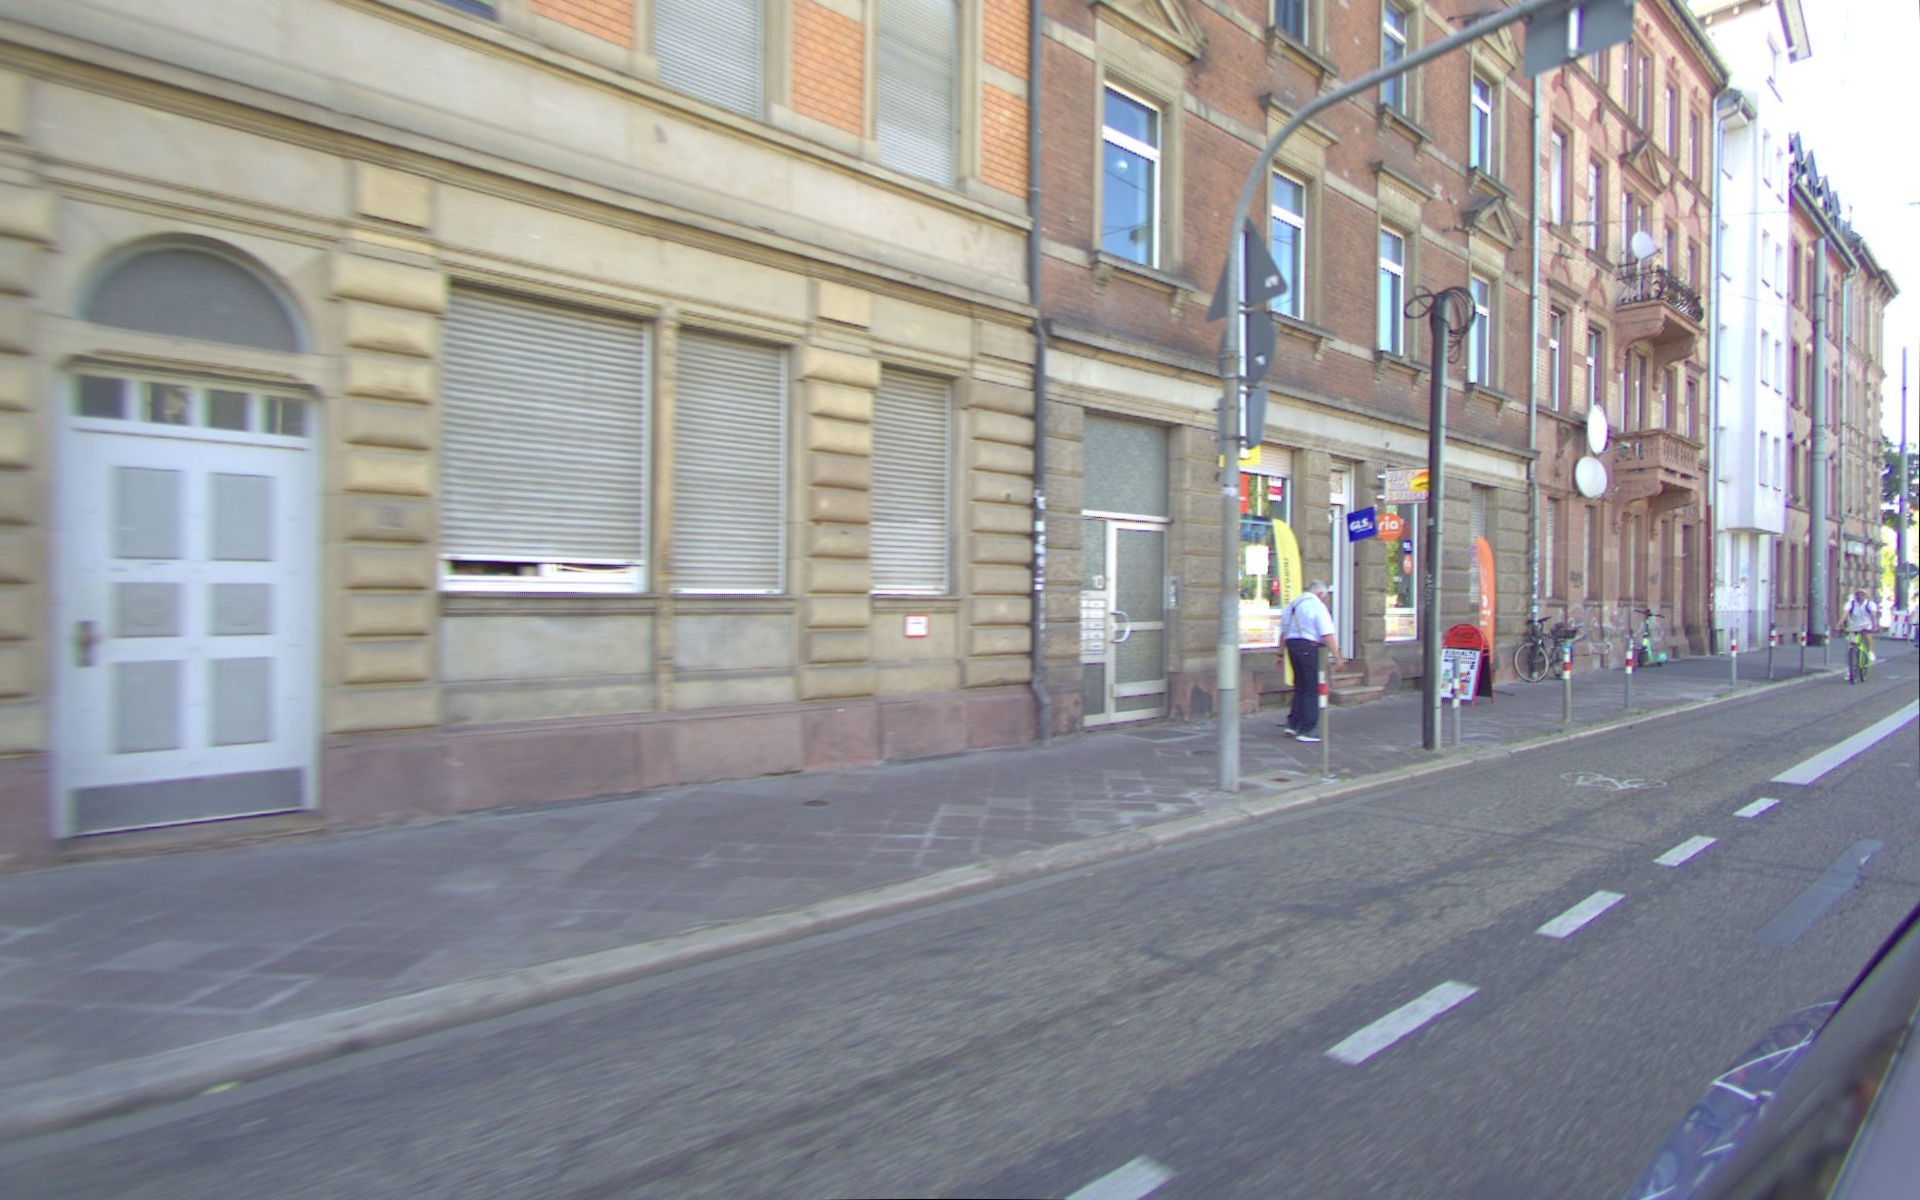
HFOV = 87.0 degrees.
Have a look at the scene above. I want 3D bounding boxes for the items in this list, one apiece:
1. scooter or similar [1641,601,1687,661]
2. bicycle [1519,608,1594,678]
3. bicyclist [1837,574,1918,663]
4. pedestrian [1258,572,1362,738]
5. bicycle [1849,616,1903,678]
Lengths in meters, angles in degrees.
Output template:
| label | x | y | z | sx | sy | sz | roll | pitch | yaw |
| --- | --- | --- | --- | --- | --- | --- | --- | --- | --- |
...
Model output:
| label | x | y | z | sx | sy | sz | roll | pitch | yaw |
| --- | --- | --- | --- | --- | --- | --- | --- | --- | --- |
| scooter or similar | 15.053 | 0.645 | 21.627 | 1.454 | 1.226 | 0.407 | -1 | 2 | -40 |
| bicycle | 10.479 | 0.725 | 17.747 | 1.862 | 1.135 | 0.411 | -1 | 2 | -37 |
| bicyclist | 18.117 | 0.355 | 19.996 | 1.096 | 1.705 | 0.684 | -1 | -1 | -17 |
| pedestrian | 3.586 | 0.531 | 10.392 | 0.640 | 1.625 | 0.800 | 0 | 0 | -38 |
| bicycle | 18.088 | 0.906 | 19.980 | 1.900 | 1.132 | 0.532 | 0 | -2 | -41 |
